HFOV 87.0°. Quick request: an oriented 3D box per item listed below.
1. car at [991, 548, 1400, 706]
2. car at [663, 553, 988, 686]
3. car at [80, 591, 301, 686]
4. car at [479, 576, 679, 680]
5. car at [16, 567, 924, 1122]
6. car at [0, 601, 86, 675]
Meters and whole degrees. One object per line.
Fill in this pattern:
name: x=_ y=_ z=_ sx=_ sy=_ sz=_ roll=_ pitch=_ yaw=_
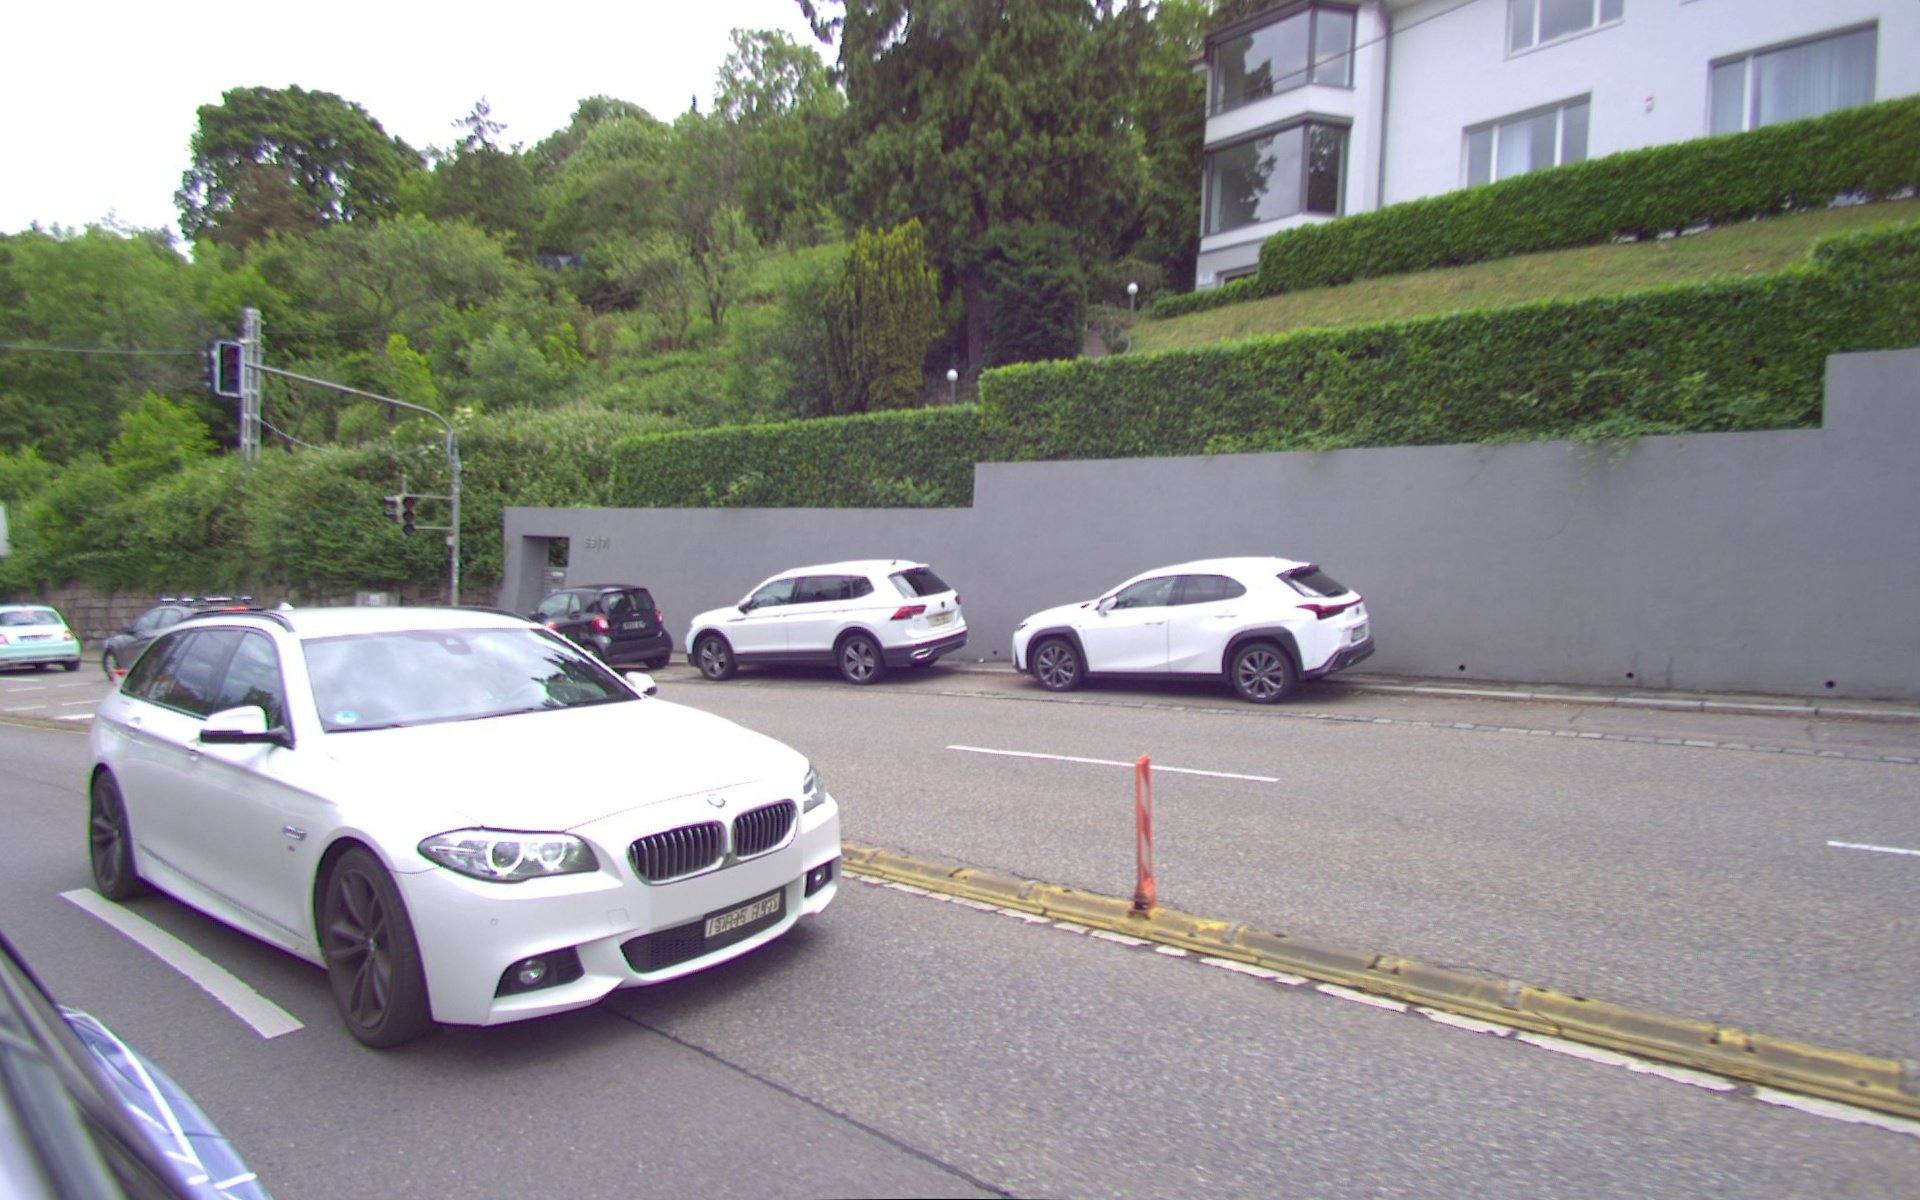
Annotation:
car: x=2.727 y=0.241 z=12.226 sx=4.468 sy=1.584 sz=1.816 roll=0 pitch=2 yaw=37
car: x=-2.106 y=0.249 z=15.398 sx=4.742 sy=1.744 sz=1.846 roll=-1 pitch=3 yaw=30
car: x=-14.576 y=0.662 z=19.148 sx=4.186 sy=1.609 sz=1.701 roll=0 pitch=1 yaw=28
car: x=-6.664 y=0.472 z=17.717 sx=2.944 sy=1.584 sz=1.701 roll=-2 pitch=3 yaw=29
car: x=-2.667 y=0.652 z=4.906 sx=4.868 sy=1.477 sz=1.832 roll=0 pitch=2 yaw=36
car: x=-21.187 y=0.820 z=22.540 sx=3.651 sy=1.477 sz=1.697 roll=-1 pitch=1 yaw=34
